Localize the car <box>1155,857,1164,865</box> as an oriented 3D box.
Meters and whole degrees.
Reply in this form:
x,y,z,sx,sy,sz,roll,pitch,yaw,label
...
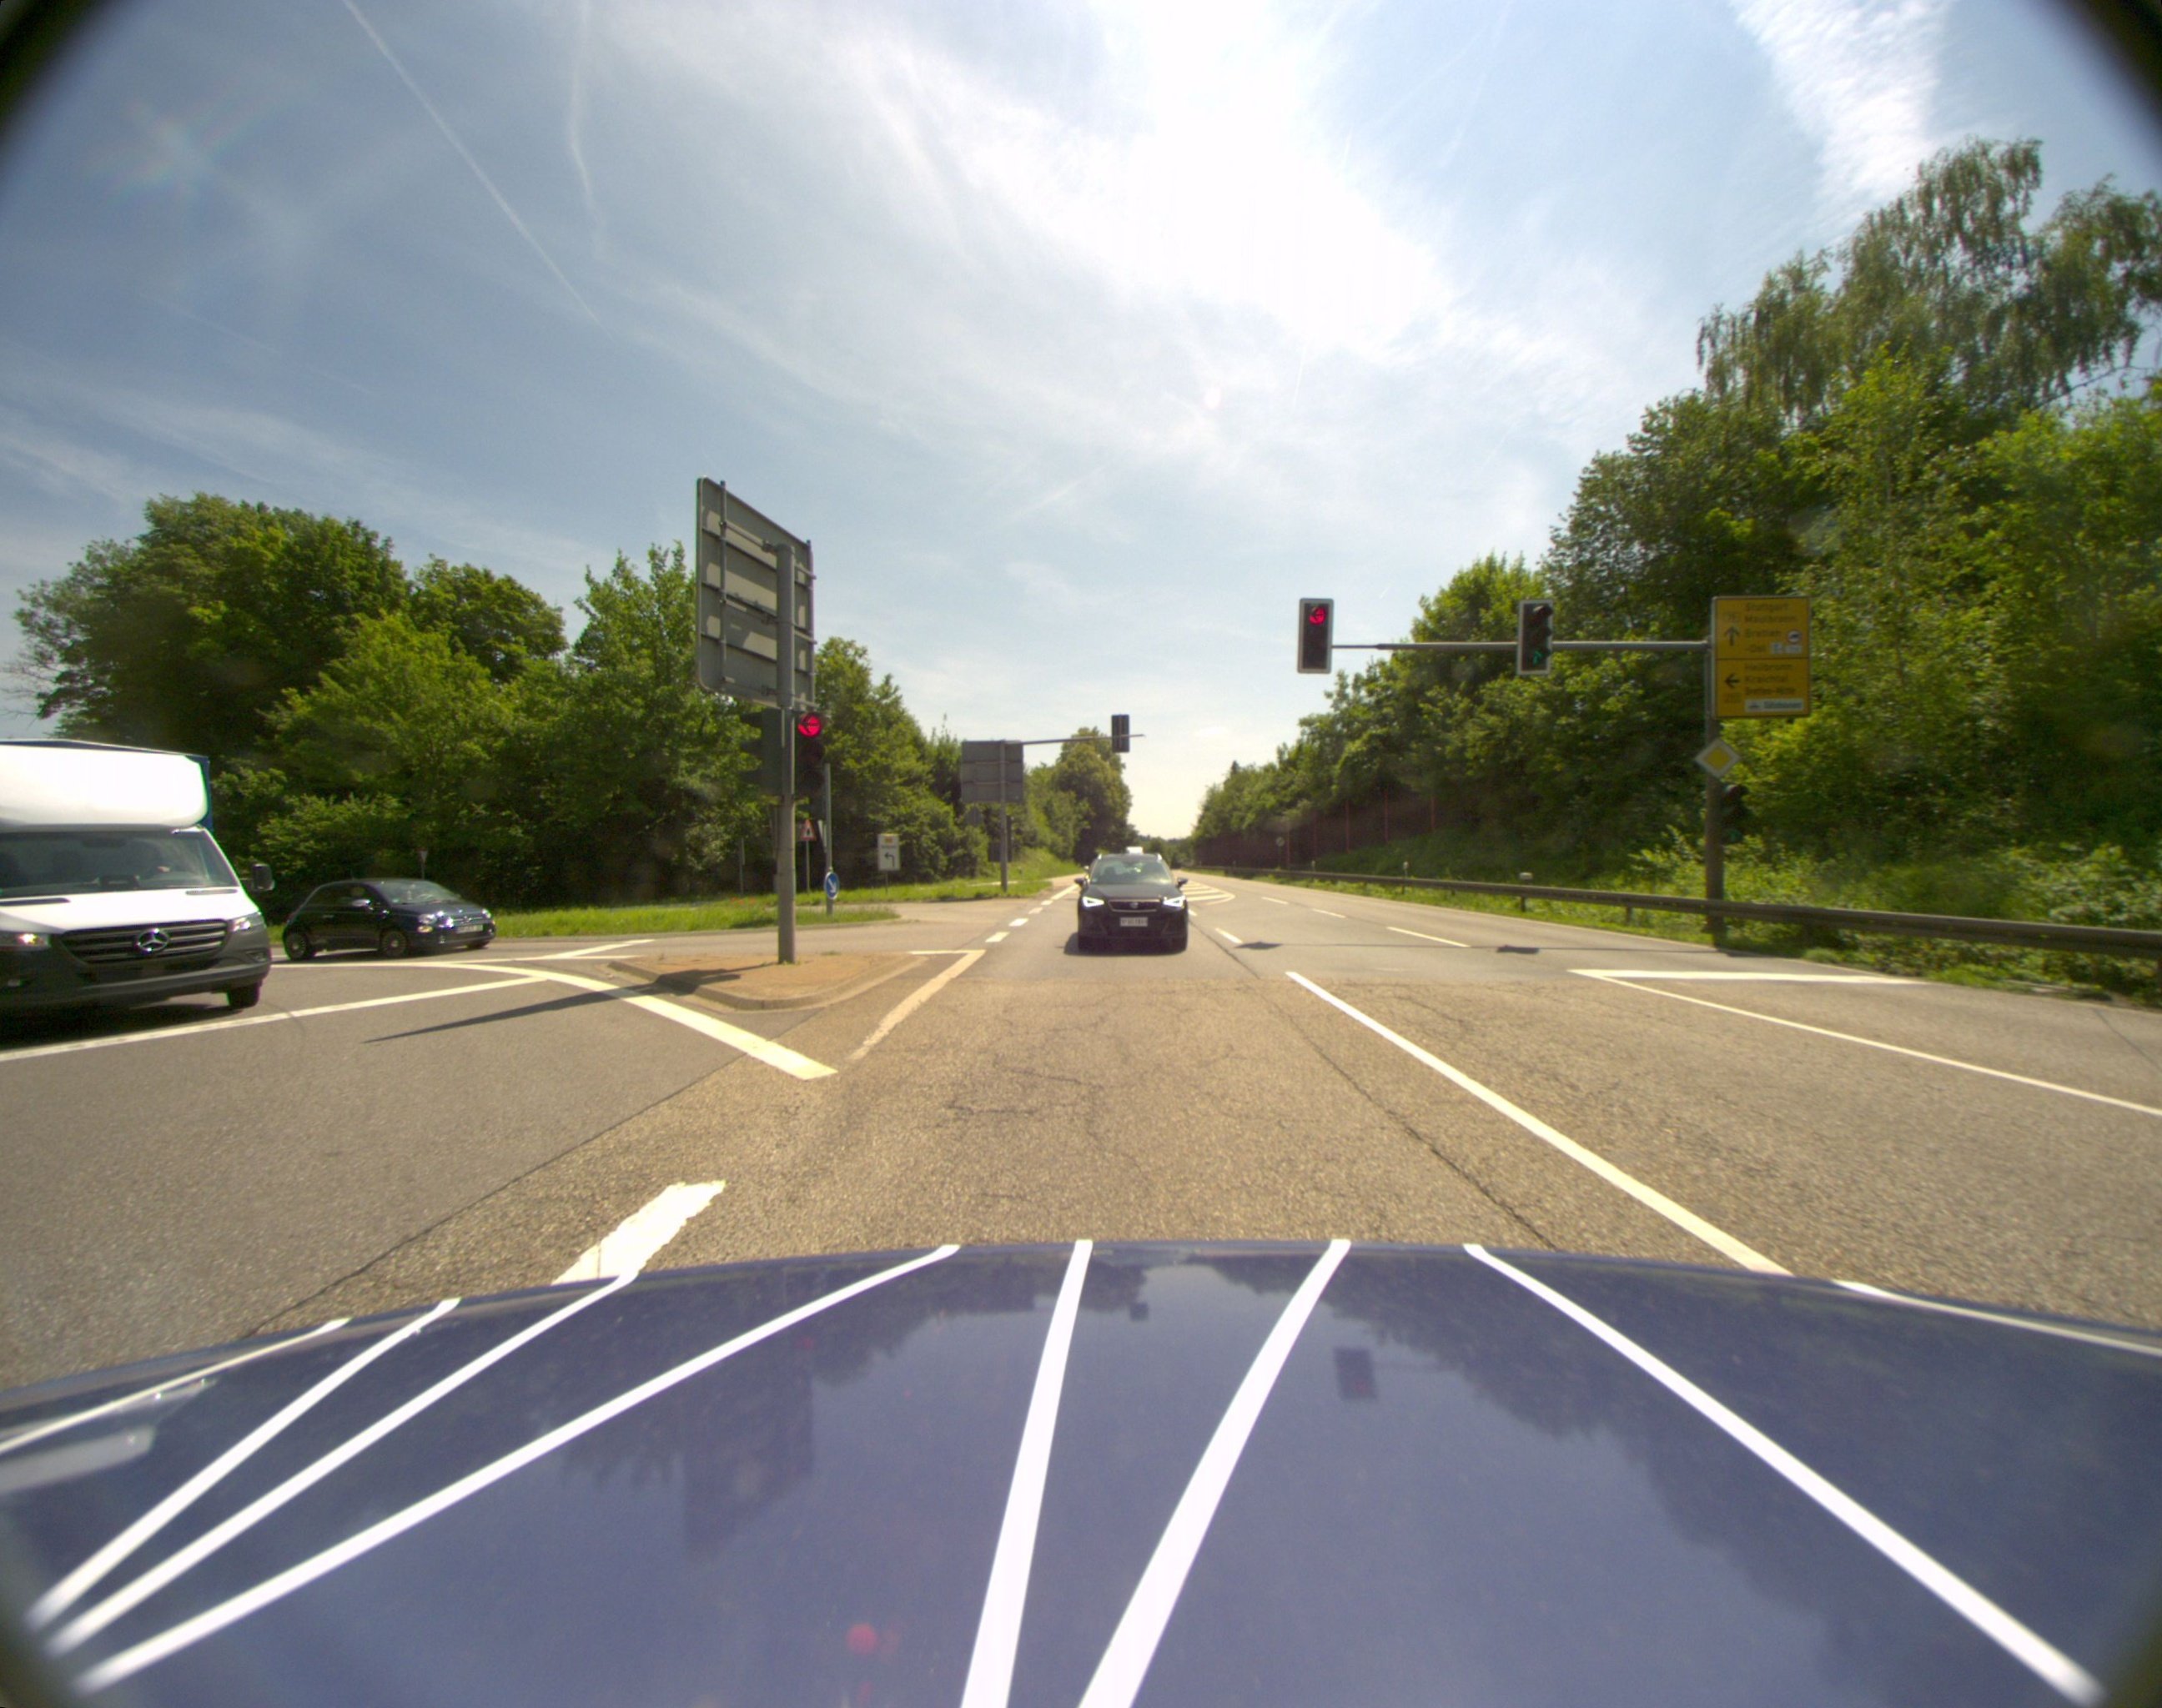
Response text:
x,y,z,sx,sy,sz,roll,pitch,yaw,label
19.221,1.719,186.140,1.998,1.756,4.001,0,1,4,car

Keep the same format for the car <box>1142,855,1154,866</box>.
x,y,z,sx,sy,sz,roll,pitch,yaw,label
11.230,1.069,127.500,1.998,1.756,4.001,0,1,4,car

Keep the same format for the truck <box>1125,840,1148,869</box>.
x,y,z,sx,sy,sz,roll,pitch,yaw,label
7.763,0.096,107.405,2.839,3.794,8.451,-2,0,2,truck

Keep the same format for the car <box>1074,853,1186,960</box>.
x,y,z,sx,sy,sz,roll,pitch,yaw,label
0.731,0.777,13.254,1.627,1.535,3.999,-1,1,0,car

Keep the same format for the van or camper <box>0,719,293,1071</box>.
x,y,z,sx,sy,sz,roll,pitch,yaw,label
-12.705,0.429,9.209,7.235,3.194,2.108,-1,1,26,van or camper

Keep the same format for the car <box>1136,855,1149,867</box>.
x,y,z,sx,sy,sz,roll,pitch,yaw,label
9.348,0.995,115.836,1.998,1.756,4.001,0,1,4,car

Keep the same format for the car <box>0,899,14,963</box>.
x,y,z,sx,sy,sz,roll,pitch,yaw,label
-29.829,2.014,19.034,5.112,1.598,1.851,-2,1,15,car

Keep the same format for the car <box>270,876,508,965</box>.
x,y,z,sx,sy,sz,roll,pitch,yaw,label
-13.218,1.253,14.589,3.353,1.457,1.691,-3,1,13,car
